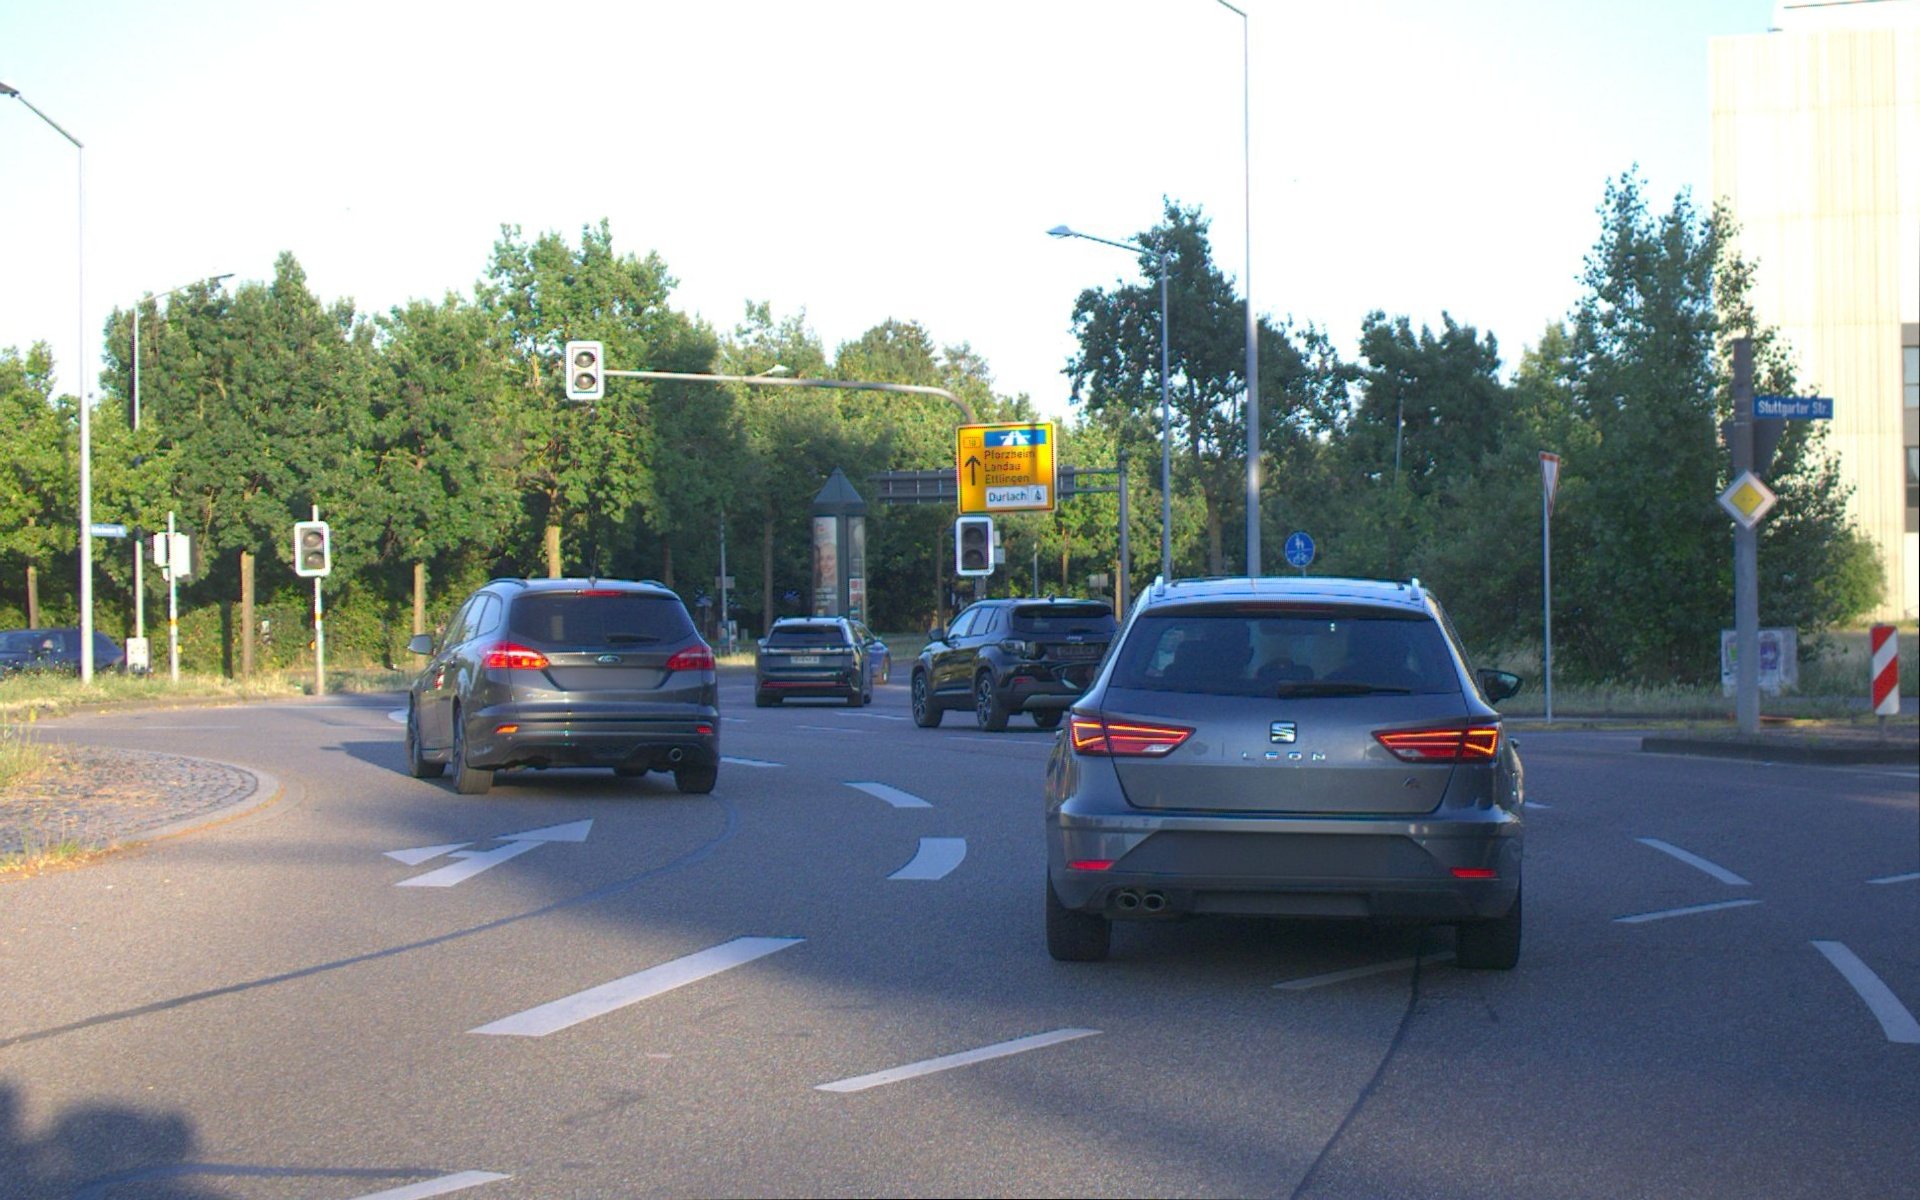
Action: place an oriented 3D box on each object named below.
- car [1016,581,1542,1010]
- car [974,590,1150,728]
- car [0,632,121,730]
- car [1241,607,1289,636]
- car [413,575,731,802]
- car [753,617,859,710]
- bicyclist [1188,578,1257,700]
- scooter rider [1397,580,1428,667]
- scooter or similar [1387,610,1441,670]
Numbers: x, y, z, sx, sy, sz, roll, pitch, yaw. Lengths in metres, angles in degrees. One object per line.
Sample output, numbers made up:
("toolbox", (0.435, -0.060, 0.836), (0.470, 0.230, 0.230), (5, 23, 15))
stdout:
("car", (1.312, 0.640, 13.554), (1.746, 1.419, 4.134), (0, 0, 7))
("car", (1.147, 0.648, 40.342), (1.812, 1.520, 4.135), (0, 0, -2))
("car", (-17.944, 1.516, 64.702), (1.748, 1.742, 4.591), (0, 0, 24))
("car", (15.762, 1.114, 177.600), (1.723, 1.444, 4.546), (0, 0, 15))
("car", (-2.839, 0.562, 24.400), (1.745, 1.461, 4.136), (0, 0, -13))
("car", (-2.621, 1.062, 59.201), (1.745, 1.483, 4.135), (0, 0, -2))
("bicyclist", (4.145, 0.611, 54.247), (0.907, 1.891, 0.641), (-2, -1, 14))
("scooter rider", (7.004, 0.364, 53.226), (0.264, 1.334, 0.406), (0, 0, -30))
("scooter or similar", (7.033, 0.620, 53.248), (0.246, 0.911, 1.039), (0, 0, -30))
